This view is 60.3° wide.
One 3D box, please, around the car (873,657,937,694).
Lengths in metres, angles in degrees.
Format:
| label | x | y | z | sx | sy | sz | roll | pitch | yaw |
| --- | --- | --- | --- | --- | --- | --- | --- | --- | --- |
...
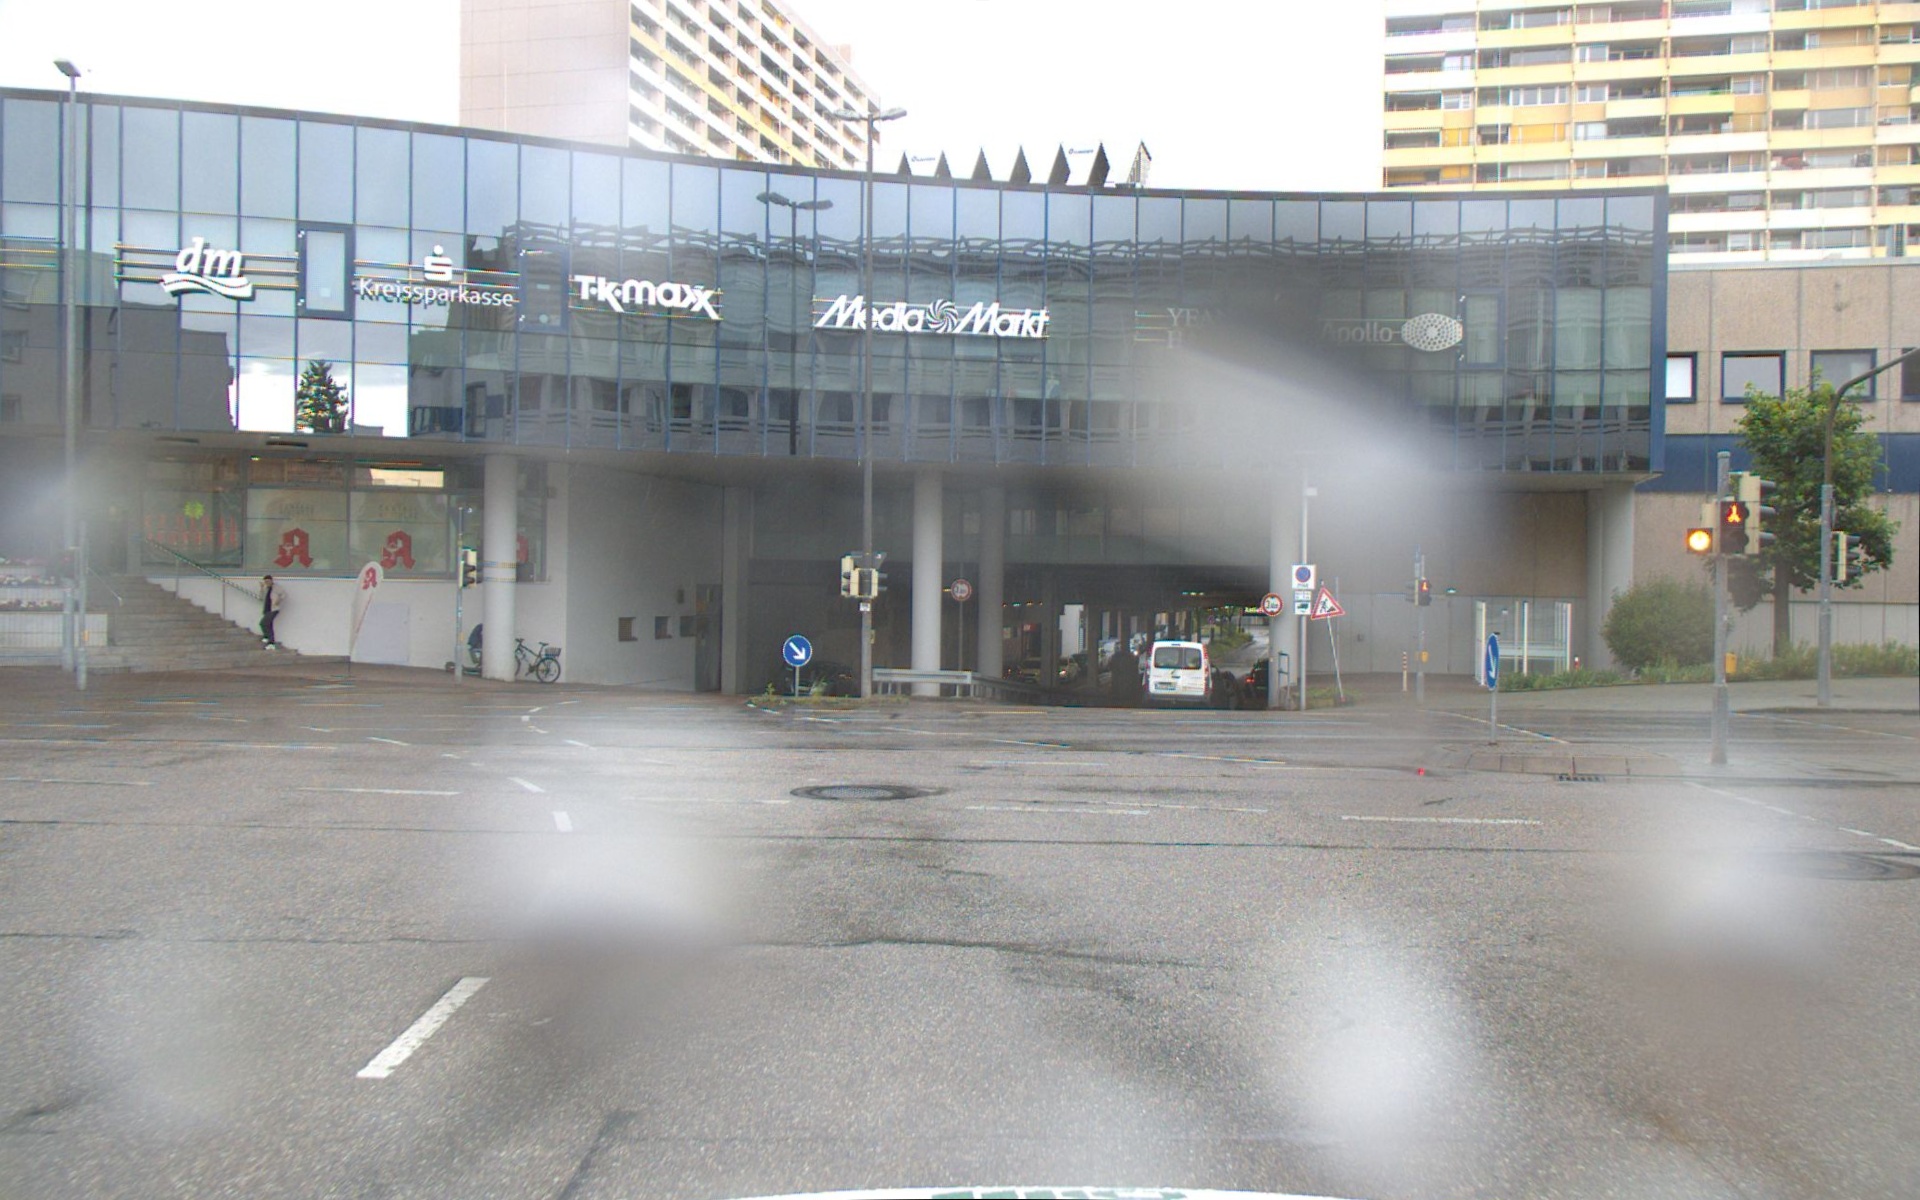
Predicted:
| label | x | y | z | sx | sy | sz | roll | pitch | yaw |
| --- | --- | --- | --- | --- | --- | --- | --- | --- | --- |
| car | -2.250 | 3.131 | 68.799 | 1.733 | 1.490 | 3.878 | 0 | -3 | 12 |

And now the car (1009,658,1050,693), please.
| label | x | y | z | sx | sy | sz | roll | pitch | yaw |
| --- | --- | --- | --- | --- | --- | --- | --- | --- | --- |
| car | 3.848 | 4.123 | 90.965 | 1.797 | 1.758 | 4.003 | 1 | -1 | 8 |

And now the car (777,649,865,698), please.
| label | x | y | z | sx | sy | sz | roll | pitch | yaw |
| --- | --- | --- | --- | --- | --- | --- | --- | --- | --- |
| car | -4.737 | 2.544 | 56.858 | 1.852 | 1.495 | 4.029 | 1 | -4 | 13 |

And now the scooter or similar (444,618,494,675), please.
| label | x | y | z | sx | sy | sz | roll | pitch | yaw |
| --- | --- | --- | --- | --- | --- | --- | --- | --- | --- |
| scooter or similar | -12.443 | 1.170 | 41.916 | 1.148 | 1.397 | 0.486 | 2 | 0 | -18 |

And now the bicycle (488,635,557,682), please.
| label | x | y | z | sx | sy | sz | roll | pitch | yaw |
| --- | --- | --- | --- | --- | --- | --- | --- | --- | --- |
| bicycle | -11.184 | 1.510 | 42.310 | 1.568 | 1.035 | 0.447 | 8 | -3 | -34 |

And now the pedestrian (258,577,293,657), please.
| label | x | y | z | sx | sy | sz | roll | pitch | yaw |
| --- | --- | --- | --- | --- | --- | --- | --- | --- | --- |
| pedestrian | -16.790 | 0.415 | 40.589 | 0.644 | 1.941 | 0.593 | 2 | 0 | -11 |

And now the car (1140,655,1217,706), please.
| label | x | y | z | sx | sy | sz | roll | pitch | yaw |
| --- | --- | --- | --- | --- | --- | --- | --- | --- | --- |
| car | 6.821 | 2.519 | 51.309 | 1.721 | 1.490 | 3.944 | 0 | -4 | 18 |

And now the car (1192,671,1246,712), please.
| label | x | y | z | sx | sy | sz | roll | pitch | yaw |
| --- | --- | --- | --- | --- | --- | --- | --- | --- | --- |
| car | 9.562 | 3.349 | 60.926 | 1.741 | 1.425 | 4.003 | 0 | -2 | 12 |

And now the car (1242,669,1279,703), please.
| label | x | y | z | sx | sy | sz | roll | pitch | yaw |
| --- | --- | --- | --- | --- | --- | --- | --- | --- | --- |
| car | 15.697 | 4.483 | 86.409 | 1.847 | 1.517 | 3.844 | 2 | 0 | 10 |

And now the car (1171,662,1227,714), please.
| label | x | y | z | sx | sy | sz | roll | pitch | yaw |
| --- | --- | --- | --- | --- | --- | --- | --- | --- | --- |
| car | 8.134 | 3.011 | 56.131 | 1.598 | 1.640 | 4.265 | 0 | -4 | 12 |

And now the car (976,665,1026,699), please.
| label | x | y | z | sx | sy | sz | roll | pitch | yaw |
| --- | --- | --- | --- | --- | --- | --- | --- | --- | --- |
| car | 2.161 | 4.222 | 85.947 | 1.873 | 1.616 | 3.942 | 0 | -1 | 12 |

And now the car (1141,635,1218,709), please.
| label | x | y | z | sx | sy | sz | roll | pitch | yaw |
| --- | --- | --- | --- | --- | --- | --- | --- | --- | --- |
| car | 5.755 | 1.864 | 43.457 | 1.885 | 1.829 | 4.299 | 0 | -2 | 7 |

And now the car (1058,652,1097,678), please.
| label | x | y | z | sx | sy | sz | roll | pitch | yaw |
| --- | --- | --- | --- | --- | --- | --- | --- | --- | --- |
| car | 7.447 | 4.085 | 104.530 | 1.951 | 1.489 | 4.003 | 0 | -1 | 12 |

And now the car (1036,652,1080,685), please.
| label | x | y | z | sx | sy | sz | roll | pitch | yaw |
| --- | --- | --- | --- | --- | --- | --- | --- | --- | --- |
| car | 5.744 | 3.991 | 96.803 | 1.951 | 1.692 | 4.003 | 2 | 0 | 12 |
